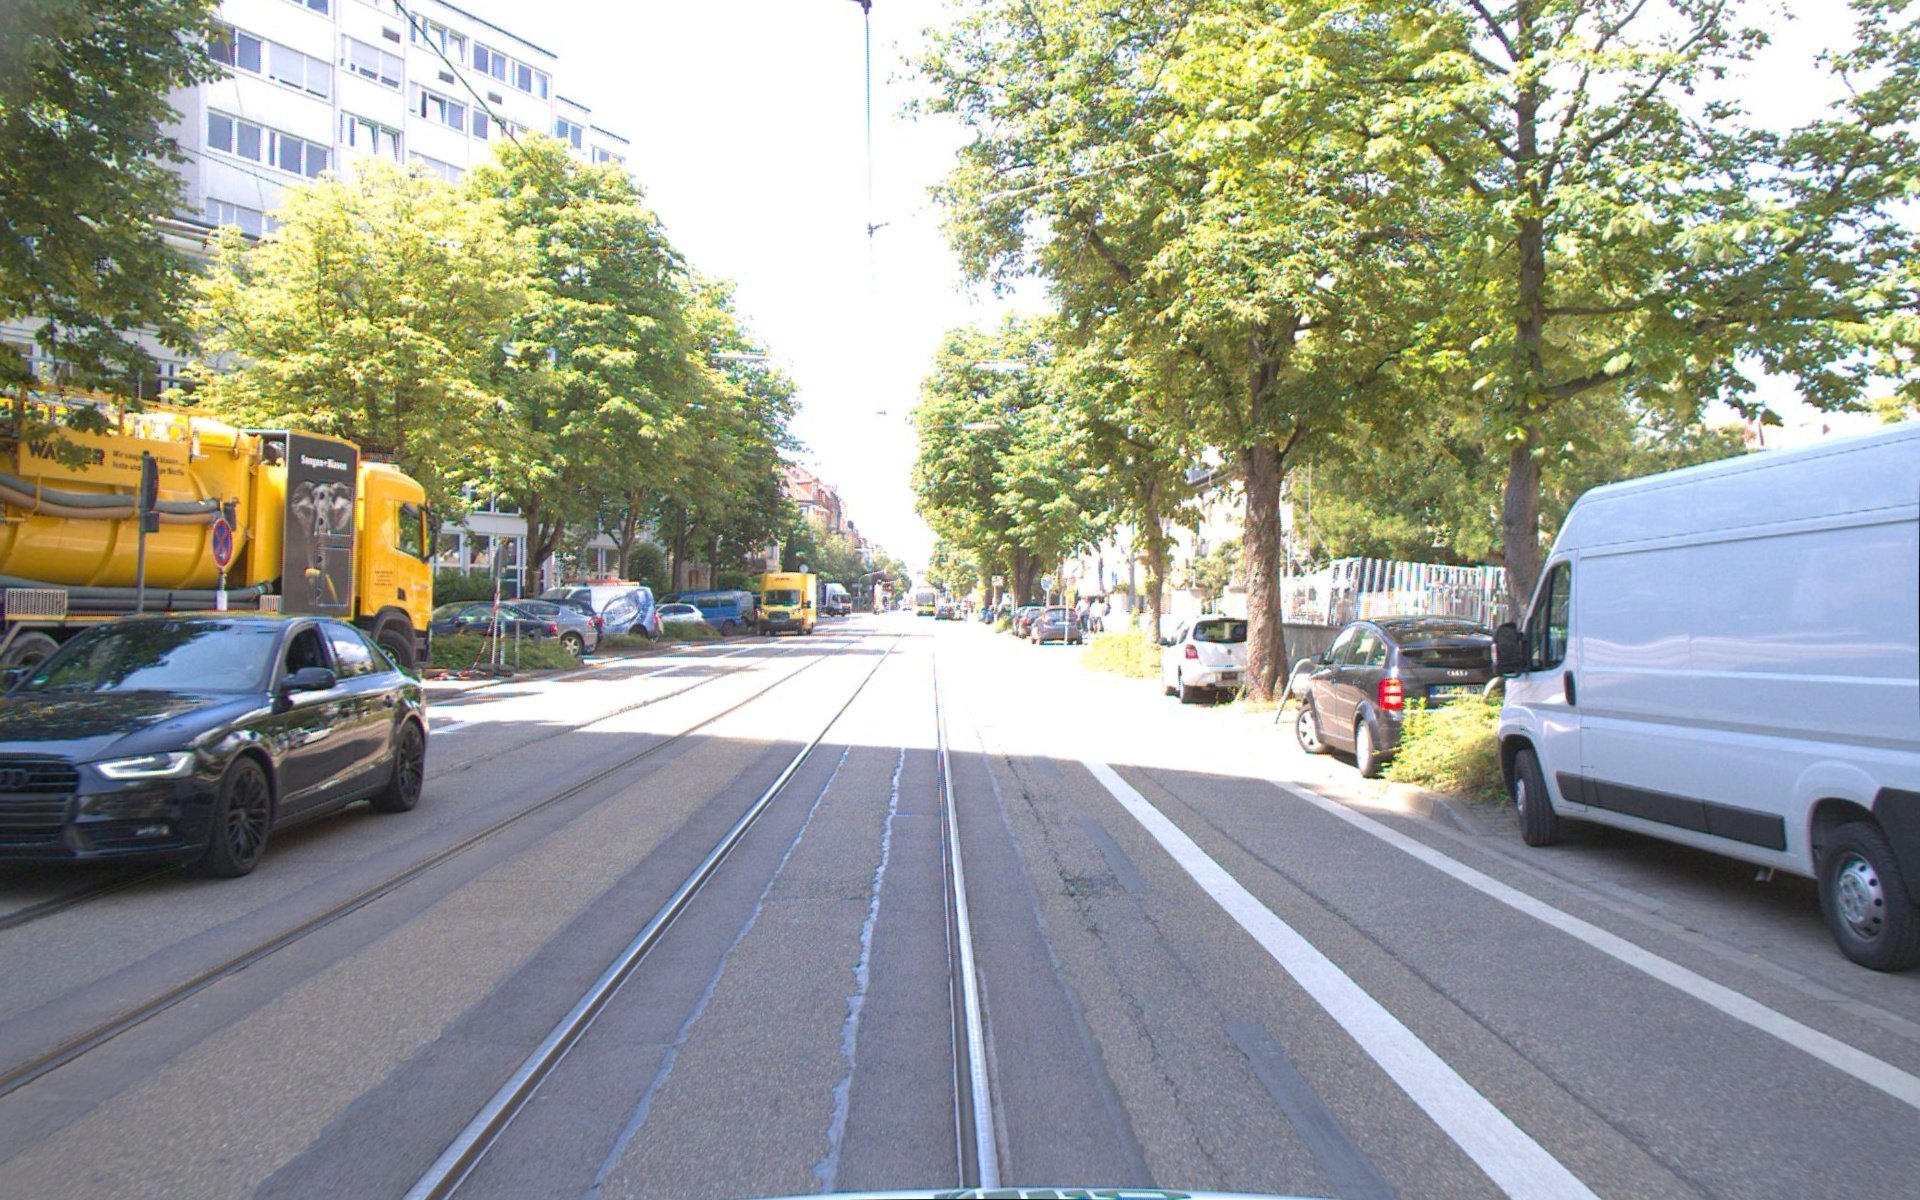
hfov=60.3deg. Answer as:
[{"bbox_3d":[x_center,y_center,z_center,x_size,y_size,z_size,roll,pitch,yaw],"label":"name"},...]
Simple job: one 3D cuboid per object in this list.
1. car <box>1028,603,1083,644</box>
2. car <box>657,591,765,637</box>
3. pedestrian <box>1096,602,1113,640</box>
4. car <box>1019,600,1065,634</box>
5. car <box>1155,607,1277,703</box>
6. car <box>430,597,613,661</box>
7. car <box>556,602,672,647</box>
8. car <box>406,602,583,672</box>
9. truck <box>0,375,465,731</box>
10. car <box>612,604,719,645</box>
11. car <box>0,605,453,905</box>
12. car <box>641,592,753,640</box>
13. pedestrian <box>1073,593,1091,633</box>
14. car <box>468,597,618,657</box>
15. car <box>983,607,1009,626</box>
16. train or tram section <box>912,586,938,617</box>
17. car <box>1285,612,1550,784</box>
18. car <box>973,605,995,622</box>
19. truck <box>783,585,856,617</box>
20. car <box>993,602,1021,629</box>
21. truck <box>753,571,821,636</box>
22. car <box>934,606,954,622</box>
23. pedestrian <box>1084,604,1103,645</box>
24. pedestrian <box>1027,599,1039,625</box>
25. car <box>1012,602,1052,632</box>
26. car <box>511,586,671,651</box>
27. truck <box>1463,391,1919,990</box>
[{"bbox_3d":[3.599,0.904,63.097,1.607,1.511,3.869,0,-1,-4],"label":"car"},{"bbox_3d":[-11.748,0.650,78.222,4.719,2.098,1.997,-1,0,-41],"label":"car"},{"bbox_3d":[6.773,0.987,77.575,0.606,1.768,0.477,-1,-1,27],"label":"pedestrian"},{"bbox_3d":[3.706,0.775,75.646,1.838,1.480,4.527,0,-1,-1],"label":"car"},{"bbox_3d":[4.517,0.935,29.608,1.610,1.561,3.785,1,0,0],"label":"car"},{"bbox_3d":[-11.147,0.713,42.198,4.169,1.533,1.845,-1,0,-43],"label":"car"},{"bbox_3d":[-12.107,0.848,57.980,1.732,1.493,3.685,-2,-1,43],"label":"car"},{"bbox_3d":[-10.882,0.825,38.827,1.731,1.533,3.688,-1,0,41],"label":"car"},{"bbox_3d":[-10.893,-0.481,22.717,2.657,3.909,10.972,2,-1,13],"label":"truck"},{"bbox_3d":[-11.632,0.952,65.472,1.730,1.458,3.978,-3,-1,41],"label":"car"},{"bbox_3d":[-4.649,0.765,10.223,1.738,1.422,4.287,1,0,-1],"label":"car"},{"bbox_3d":[-11.417,0.658,71.963,1.815,1.990,4.701,-1,0,43],"label":"car"},{"bbox_3d":[5.740,0.604,77.663,0.791,1.892,0.577,0,0,10],"label":"pedestrian"},{"bbox_3d":[-11.404,0.717,45.339,1.662,1.571,3.685,-1,0,43],"label":"car"},{"bbox_3d":[2.675,1.226,123.457,1.676,1.448,4.308,0,-1,-2],"label":"car"},{"bbox_3d":[-4.122,0.178,198.305,2.973,3.499,11.968,0,0,0],"label":"train or tram section"},{"bbox_3d":[4.688,0.932,17.510,1.611,1.561,3.945,1,0,-2],"label":"car"},{"bbox_3d":[2.017,1.164,141.683,1.676,1.448,4.308,0,-1,-2],"label":"car"},{"bbox_3d":[-16.031,0.076,188.322,8.274,3.612,2.941,0,0,33],"label":"truck"},{"bbox_3d":[2.936,0.993,104.230,1.560,1.645,3.906,0,-1,-2],"label":"car"},{"bbox_3d":[-7.980,0.147,77.147,2.312,2.902,7.378,0,0,0],"label":"truck"},{"bbox_3d":[-1.472,1.264,149.441,1.745,1.369,3.415,0,0,-1],"label":"car"},{"bbox_3d":[6.160,1.123,76.305,0.709,1.892,0.576,-1,0,24],"label":"pedestrian"},{"bbox_3d":[5.253,0.860,118.679,0.792,1.892,0.623,1,-2,-3],"label":"pedestrian"},{"bbox_3d":[3.534,0.861,82.038,1.676,1.448,4.242,0,-1,-2],"label":"car"},{"bbox_3d":[-11.575,0.559,52.090,1.887,1.968,4.730,-2,-1,41],"label":"car"},{"bbox_3d":[4.960,0.378,9.807,1.974,2.532,5.954,1,0,-2],"label":"truck"}]
